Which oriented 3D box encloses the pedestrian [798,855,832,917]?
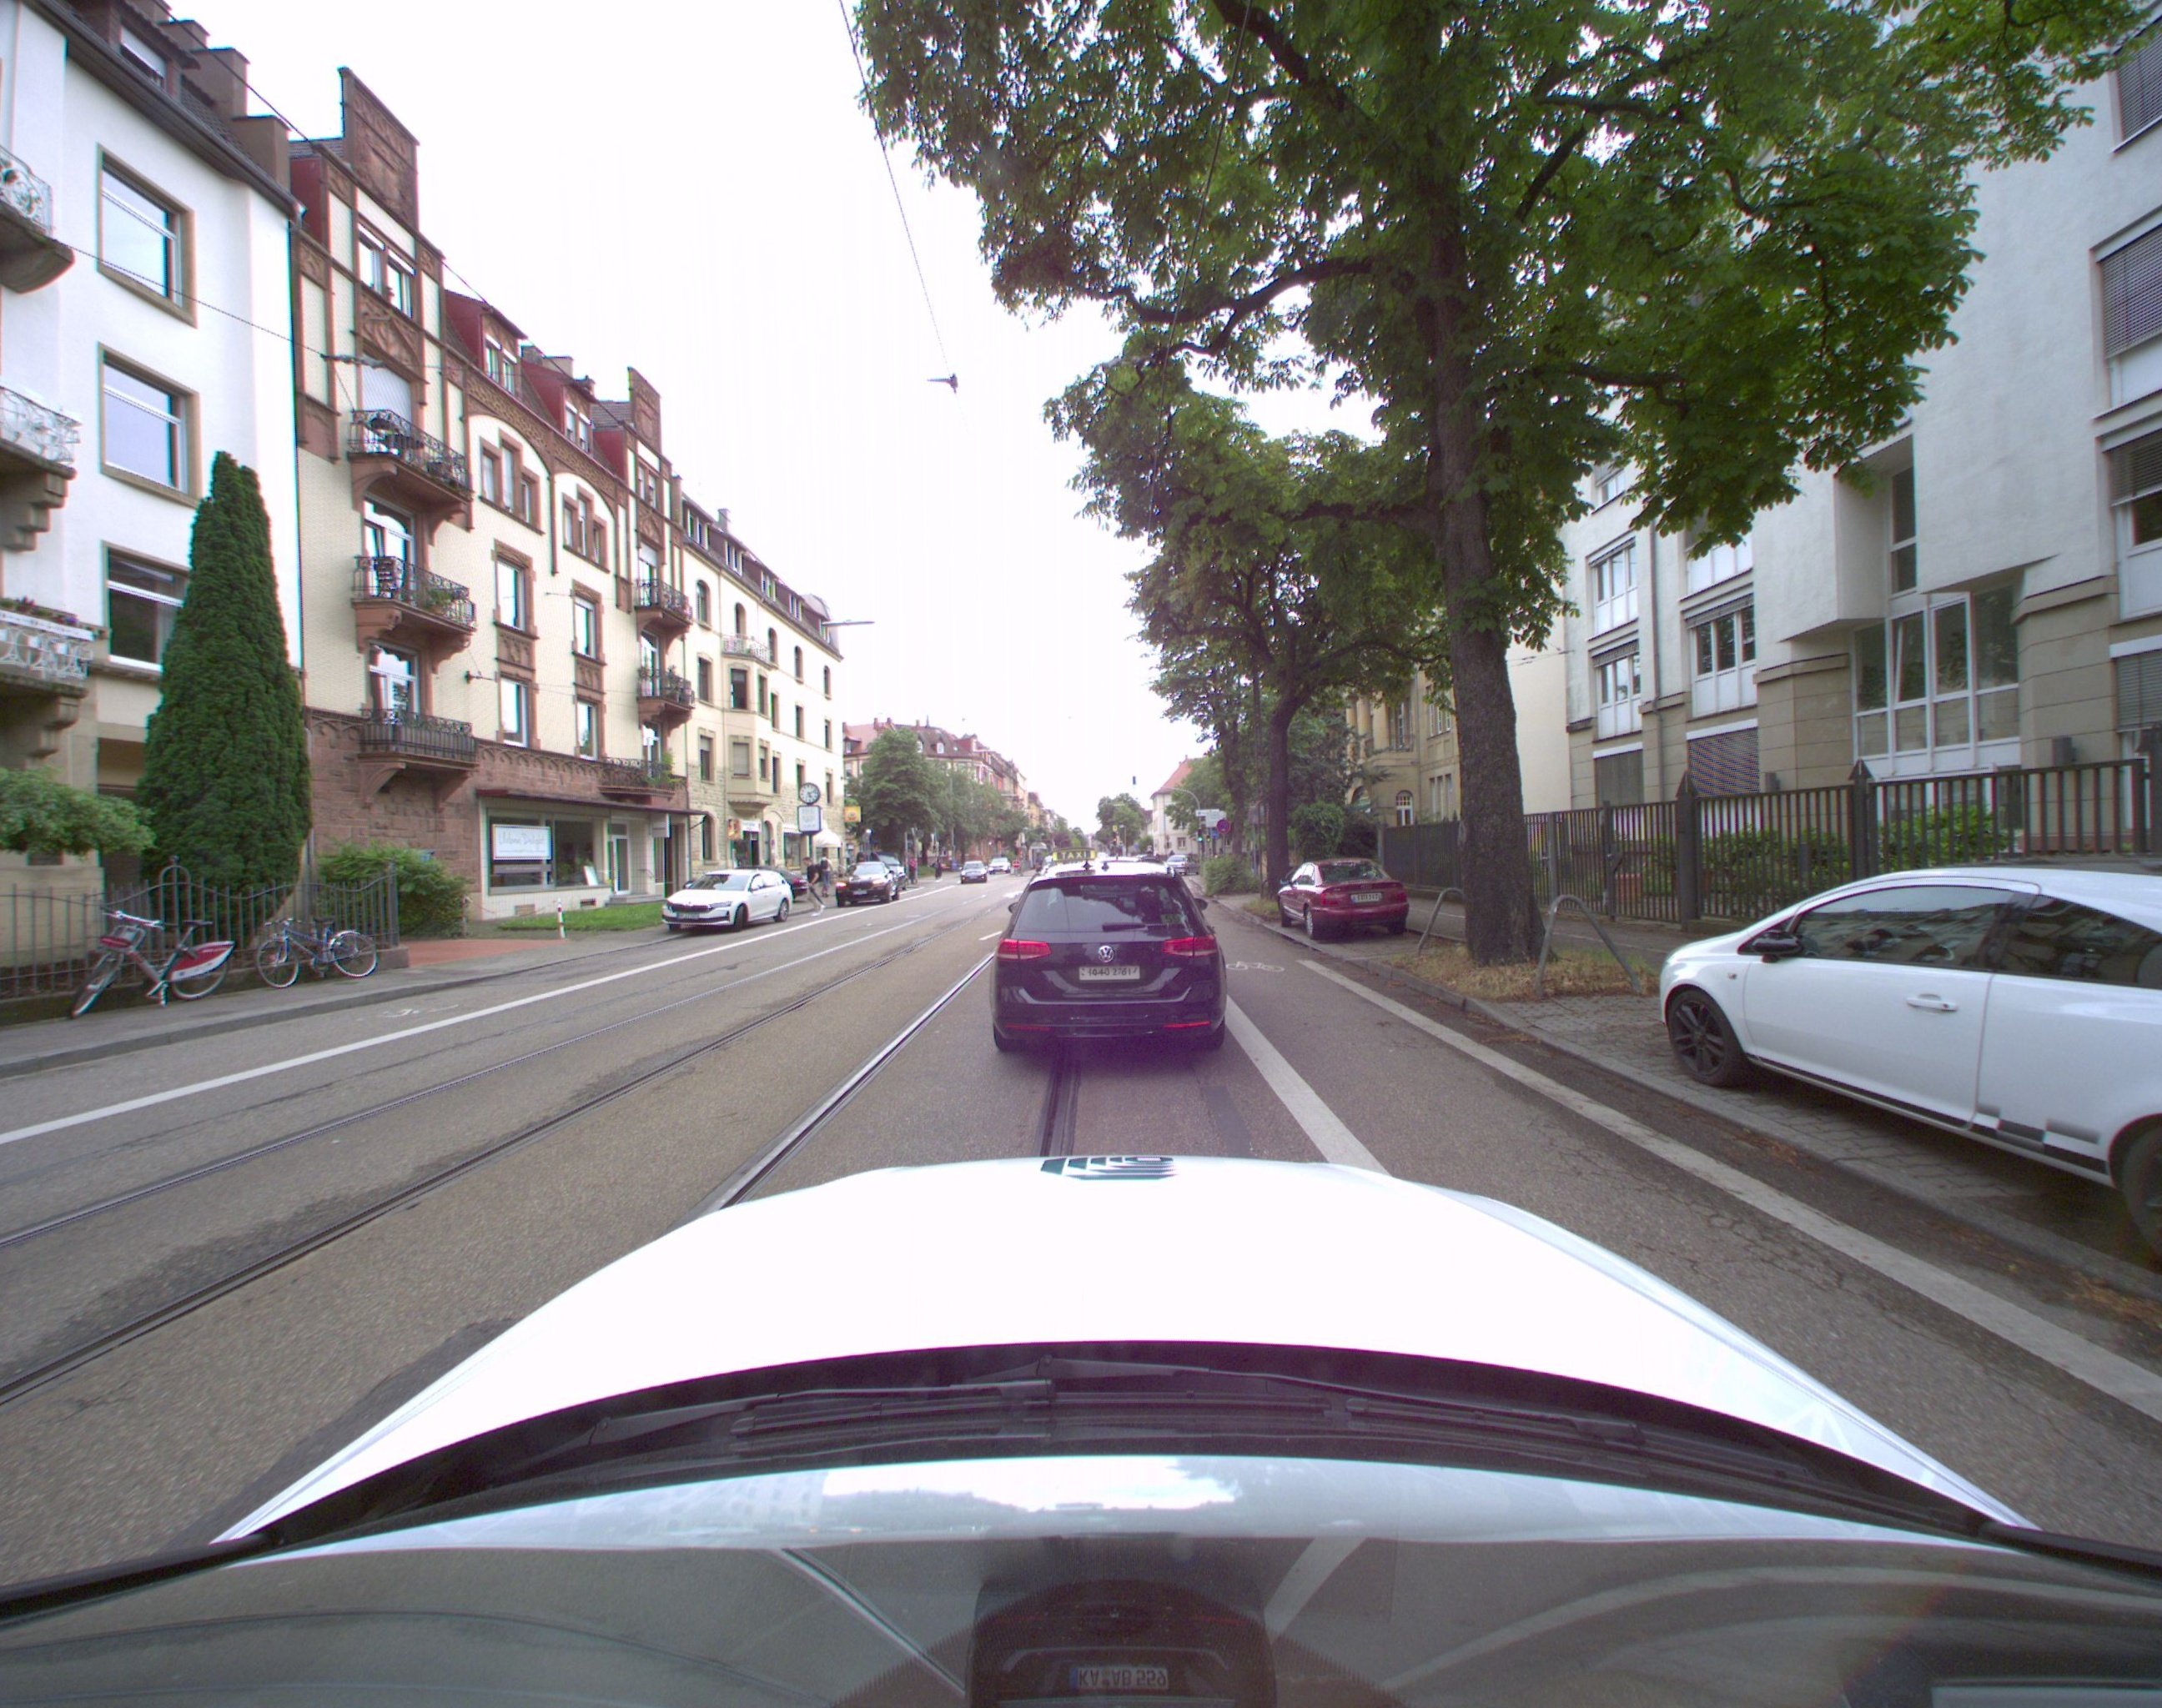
[{"bbox_3d":[-8.173,0.972,25.068,0.665,1.844,0.882,-2,0,0],"label":"pedestrian"}]

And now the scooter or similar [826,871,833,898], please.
[{"bbox_3d":[-11.548,1.393,37.385,0.232,1.234,0.948,-2,0,-17],"label":"scooter or similar"}]

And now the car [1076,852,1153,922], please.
[{"bbox_3d":[0.837,0.756,20.536,1.717,1.546,4.002,-1,0,2],"label":"car"}]

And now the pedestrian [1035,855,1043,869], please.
[{"bbox_3d":[-4.658,0.856,90.510,0.711,1.520,0.590,-2,0,3],"label":"pedestrian"}]

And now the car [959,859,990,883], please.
[{"bbox_3d":[-7.039,1.089,53.917,1.604,1.422,3.484,-3,0,-1],"label":"car"}]

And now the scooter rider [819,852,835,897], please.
[{"bbox_3d":[-11.648,0.914,37.378,0.643,2.013,0.753,-2,0,-18],"label":"scooter rider"}]

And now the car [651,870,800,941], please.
[{"bbox_3d":[-9.069,1.238,21.238,1.741,1.484,4.609,-2,0,1],"label":"car"}]

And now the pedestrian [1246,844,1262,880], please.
[{"bbox_3d":[8.779,0.402,41.330,0.630,1.815,0.726,-2,0,-1],"label":"pedestrian"}]

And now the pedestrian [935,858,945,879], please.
[{"bbox_3d":[-11.516,1.199,66.418,0.587,1.663,0.840,-2,0,2],"label":"pedestrian"}]

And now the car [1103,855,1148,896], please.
[{"bbox_3d":[1.805,0.838,33.908,1.717,1.546,4.002,-1,0,2],"label":"car"}]

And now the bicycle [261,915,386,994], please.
[{"bbox_3d":[-10.837,1.406,11.717,0.331,0.938,1.515,-2,0,1],"label":"bicycle"}]

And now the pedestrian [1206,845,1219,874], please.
[{"bbox_3d":[8.398,0.350,51.939,0.583,1.831,0.604,-5,-1,3],"label":"pedestrian"}]

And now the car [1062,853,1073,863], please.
[{"bbox_3d":[-2.353,0.682,146.080,1.715,1.622,3.864,-2,0,1],"label":"car"}]

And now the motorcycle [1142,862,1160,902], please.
[{"bbox_3d":[2.276,0.882,26.757,0.445,1.235,1.907,-2,0,2],"label":"motorcycle"}]

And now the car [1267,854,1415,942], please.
[{"bbox_3d":[4.914,0.757,15.979,1.596,1.399,4.229,-4,0,2],"label":"car"}]

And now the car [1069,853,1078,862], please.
[{"bbox_3d":[-1.462,0.638,160.797,1.715,1.622,3.864,-2,0,1],"label":"car"}]

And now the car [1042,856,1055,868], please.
[{"bbox_3d":[-4.824,1.197,122.125,1.715,1.622,3.864,-2,0,1],"label":"car"}]

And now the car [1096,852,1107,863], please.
[{"bbox_3d":[3.864,0.633,151.048,2.025,2.014,4.001,-1,-1,2],"label":"car"}]

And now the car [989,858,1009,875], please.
[{"bbox_3d":[-7.826,1.190,78.077,1.695,1.496,3.925,-3,0,-4],"label":"car"}]

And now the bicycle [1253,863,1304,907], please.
[{"bbox_3d":[5.695,0.868,23.450,1.915,1.198,0.428,0,-2,-43],"label":"bicycle"}]

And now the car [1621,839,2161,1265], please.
[{"bbox_3d":[4.651,0.695,3.958,1.596,1.435,3.779,-4,0,3],"label":"car"}]

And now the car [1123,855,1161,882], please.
[{"bbox_3d":[3.586,0.812,47.432,1.881,1.408,4.009,-2,0,8],"label":"car"}]

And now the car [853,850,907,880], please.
[{"bbox_3d":[-16.849,0.947,68.092,2.197,2.417,5.316,-2,0,-41],"label":"car"}]

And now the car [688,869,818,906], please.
[{"bbox_3d":[-13.073,1.311,32.690,4.415,1.370,1.878,1,0,-3],"label":"car"}]

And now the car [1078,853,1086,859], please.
[{"bbox_3d":[0.175,0.557,217.085,1.787,1.596,4.005,-2,0,4],"label":"car"}]

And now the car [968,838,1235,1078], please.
[{"bbox_3d":[0.198,0.685,7.358,1.717,1.546,4.002,-1,0,2],"label":"car"}]

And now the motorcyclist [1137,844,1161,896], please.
[{"bbox_3d":[2.240,0.522,26.858,0.700,1.692,0.805,-2,0,1],"label":"motorcyclist"}]

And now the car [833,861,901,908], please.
[{"bbox_3d":[-8.517,1.149,32.797,1.881,1.611,4.875,-4,0,-7],"label":"car"}]

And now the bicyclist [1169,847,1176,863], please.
[{"bbox_3d":[9.268,0.133,82.641,0.647,1.568,0.697,-2,0,8],"label":"bicyclist"}]

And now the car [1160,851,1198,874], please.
[{"bbox_3d":[6.986,0.601,57.788,1.978,1.577,4.017,-1,-1,16],"label":"car"}]

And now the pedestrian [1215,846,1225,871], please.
[{"bbox_3d":[10.515,0.343,61.530,0.510,1.831,0.420,-5,-1,18],"label":"pedestrian"}]

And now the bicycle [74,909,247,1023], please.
[{"bbox_3d":[-10.657,1.245,9.508,0.385,1.102,1.619,-2,0,-10],"label":"bicycle"}]

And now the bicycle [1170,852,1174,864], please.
[{"bbox_3d":[9.226,0.421,82.522,0.295,1.223,1.434,-2,0,9],"label":"bicycle"}]

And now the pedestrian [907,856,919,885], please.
[{"bbox_3d":[-11.129,1.084,54.044,0.621,1.842,0.609,-2,0,-1],"label":"pedestrian"}]

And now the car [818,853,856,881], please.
[{"bbox_3d":[-23.018,1.225,76.747,2.193,2.527,5.328,-2,0,-30],"label":"car"}]

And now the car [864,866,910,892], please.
[{"bbox_3d":[-10.763,1.359,45.432,1.644,1.361,4.128,1,0,-1],"label":"car"}]

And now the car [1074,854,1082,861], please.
[{"bbox_3d":[-0.601,0.800,178.280,1.715,1.465,3.864,-2,0,1],"label":"car"}]
